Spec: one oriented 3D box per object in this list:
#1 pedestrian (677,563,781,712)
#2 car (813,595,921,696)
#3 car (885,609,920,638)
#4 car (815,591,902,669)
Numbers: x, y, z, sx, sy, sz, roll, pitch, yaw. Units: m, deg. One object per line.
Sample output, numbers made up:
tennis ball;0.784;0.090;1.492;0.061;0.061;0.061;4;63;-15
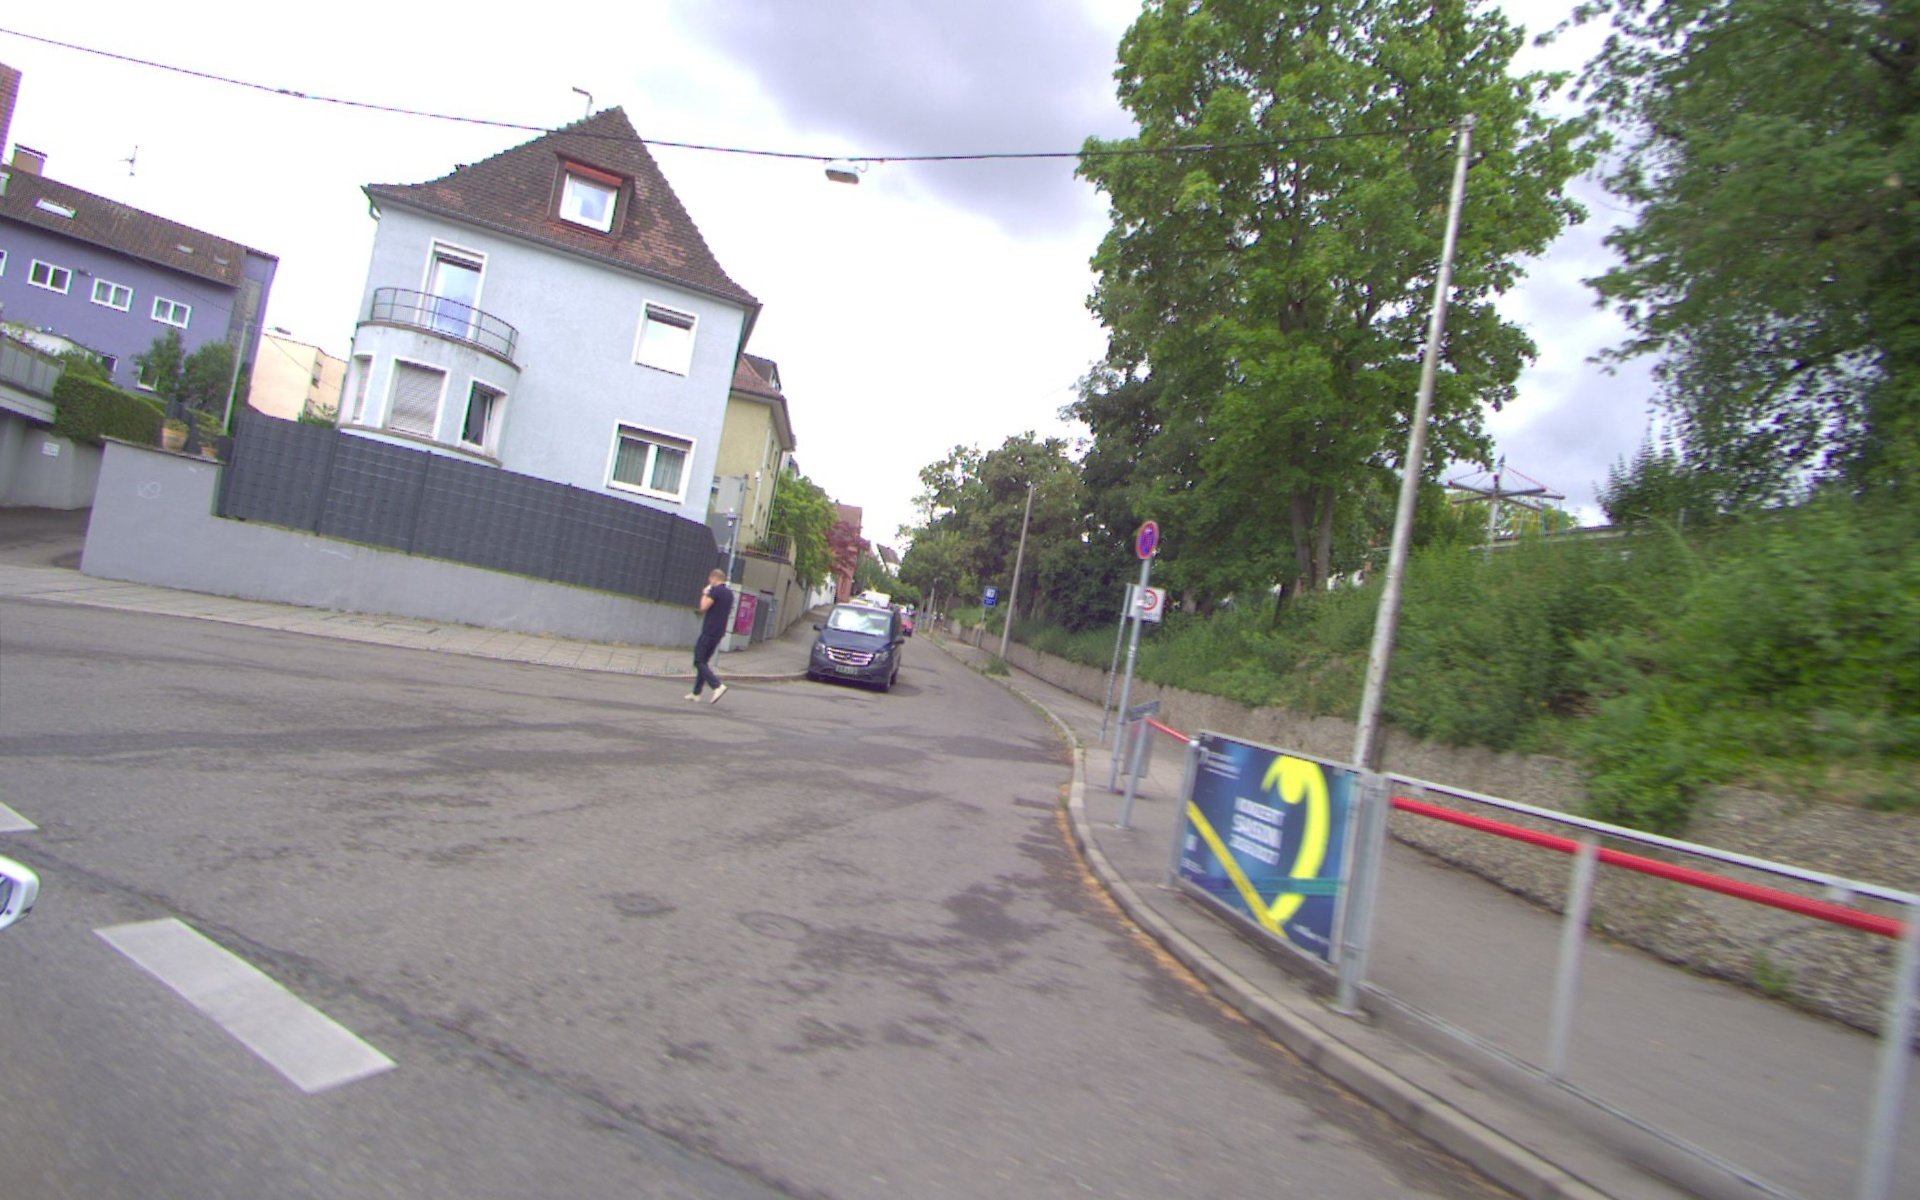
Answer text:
pedestrian;-3.133;0.513;13.660;0.967;1.849;0.574;9;0;27
car;-2.141;1.092;24.547;1.916;1.884;4.843;10;-2;0
car;-3.796;1.547;65.532;1.965;1.614;3.999;7;-2;-5
car;-3.004;0.942;30.888;1.916;1.884;4.843;10;-2;0
